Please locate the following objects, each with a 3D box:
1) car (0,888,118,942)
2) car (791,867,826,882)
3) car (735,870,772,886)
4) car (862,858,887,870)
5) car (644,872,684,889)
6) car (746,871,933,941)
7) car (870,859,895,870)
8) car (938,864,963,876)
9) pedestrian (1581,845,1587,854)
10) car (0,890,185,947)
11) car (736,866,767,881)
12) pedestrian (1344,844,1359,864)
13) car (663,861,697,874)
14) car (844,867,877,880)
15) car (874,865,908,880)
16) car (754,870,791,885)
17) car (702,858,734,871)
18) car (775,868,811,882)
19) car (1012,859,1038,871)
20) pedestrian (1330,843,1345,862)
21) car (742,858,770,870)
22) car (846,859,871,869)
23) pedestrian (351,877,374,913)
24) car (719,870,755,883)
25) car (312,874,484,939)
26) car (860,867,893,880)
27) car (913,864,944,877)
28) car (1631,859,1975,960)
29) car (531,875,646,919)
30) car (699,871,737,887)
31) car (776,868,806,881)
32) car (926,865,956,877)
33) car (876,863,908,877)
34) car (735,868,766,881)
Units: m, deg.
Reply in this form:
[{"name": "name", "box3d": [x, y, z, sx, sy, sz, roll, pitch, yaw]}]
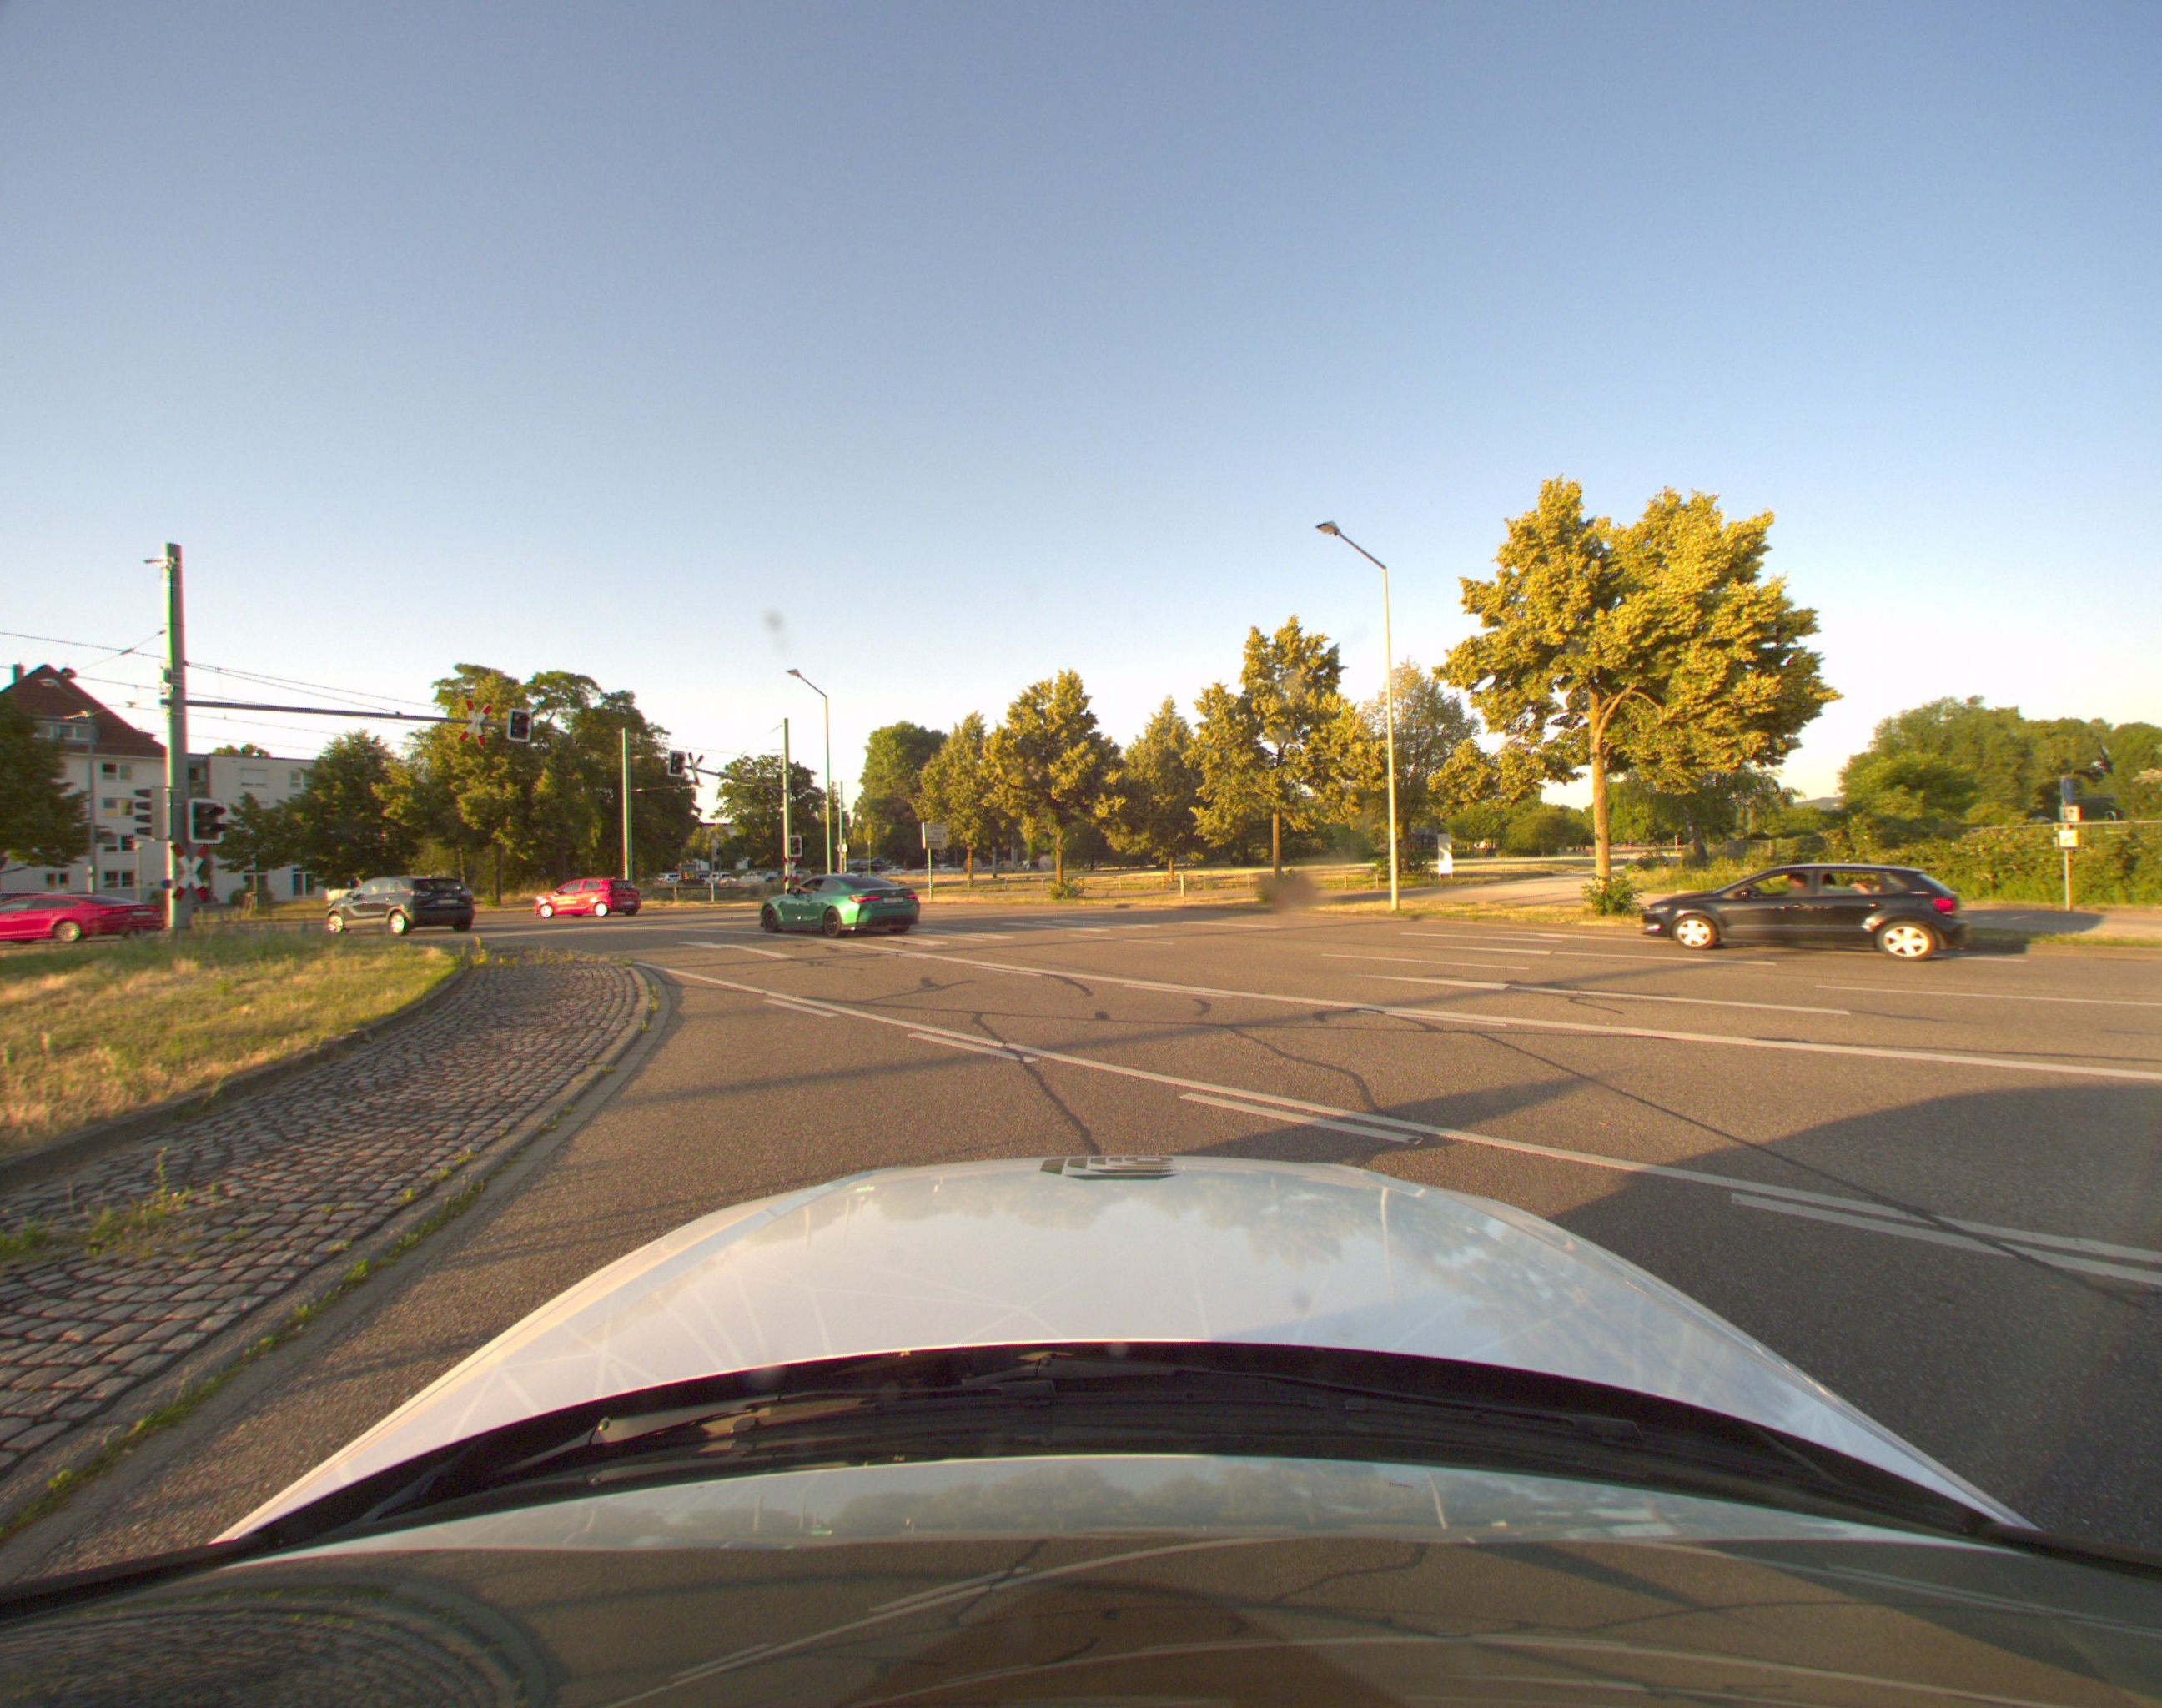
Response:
[{"name": "car", "box3d": [-37.948, 2.195, 28.699, 4.728, 1.706, 1.982, -2, 0, -29]}, {"name": "car", "box3d": [-32.639, 2.466, 97.606, 3.948, 1.604, 2.013, -2, 0, 34]}, {"name": "car", "box3d": [-37.056, 2.714, 92.057, 3.948, 1.604, 2.013, -2, 0, 34]}, {"name": "car", "box3d": [-37.966, 1.786, 150.039, 1.975, 2.013, 4.025, -2, 0, 42]}, {"name": "car", "box3d": [-42.657, 2.684, 83.320, 3.948, 1.604, 2.013, -2, 0, 34]}, {"name": "car", "box3d": [-5.752, 1.128, 19.088, 4.674, 1.371, 2.012, -2, 0, 42]}, {"name": "car", "box3d": [-35.690, 1.896, 146.433, 3.964, 1.706, 2.005, -2, 0, 8]}, {"name": "car", "box3d": [-20.847, 2.534, 129.985, 2.008, 1.752, 4.549, -1, 1, -35]}, {"name": "pedestrian", "box3d": [93.485, -0.921, 151.262, 0.844, 1.661, 0.984, -2, 0, 27]}, {"name": "car", "box3d": [-29.055, 1.839, 23.268, 4.475, 1.392, 1.892, -2, 0, -5]}, {"name": "car", "box3d": [-47.562, 2.778, 117.618, 4.006, 2.013, 1.984, -2, 0, -24]}, {"name": "pedestrian", "box3d": [23.418, 0.000, 70.533, 1.064, 1.617, 0.911, -2, 0, 4]}, {"name": "car", "box3d": [-65.670, 2.245, 133.318, 1.974, 2.013, 4.627, -2, 0, 32]}, {"name": "car", "box3d": [-28.133, 2.483, 103.900, 3.948, 1.604, 2.013, -2, 0, 34]}, {"name": "car", "box3d": [-27.657, 2.690, 118.508, 4.578, 2.013, 1.995, -2, 0, -7]}, {"name": "car", "box3d": [-35.512, 2.716, 93.667, 3.948, 1.604, 2.013, -2, 0, 34]}, {"name": "car", "box3d": [-61.932, 1.800, 139.058, 1.974, 2.013, 4.628, -2, 0, 36]}, {"name": "car", "box3d": [-33.704, 2.456, 95.426, 3.948, 1.604, 2.013, -2, 0, 34]}, {"name": "car", "box3d": [-7.961, 1.527, 115.260, 1.748, 1.618, 3.954, -1, 0, -39]}, {"name": "pedestrian", "box3d": [22.357, -0.115, 70.926, 1.064, 1.617, 0.911, -2, 0, 4]}, {"name": "car", "box3d": [-57.844, 1.816, 144.928, 1.974, 2.013, 4.143, -2, 0, 36]}, {"name": "car", "box3d": [-41.755, 1.896, 153.017, 1.974, 1.816, 4.026, -2, 0, 37]}, {"name": "pedestrian", "box3d": [-38.615, 2.197, 43.794, 0.666, 1.893, 0.619, 0, -1, -4]}, {"name": "car", "box3d": [-46.119, 3.023, 109.140, 1.878, 1.662, 4.026, -2, 0, 37]}, {"name": "car", "box3d": [-18.861, 1.422, 22.497, 3.953, 1.584, 1.905, -2, 0, 21]}, {"name": "car", "box3d": [-26.676, 2.490, 105.983, 3.948, 1.604, 2.013, -2, 0, 34]}, {"name": "car", "box3d": [-21.473, 2.321, 114.783, 3.948, 1.604, 2.013, -2, 0, 34]}, {"name": "car", "box3d": [11.455, 0.806, 13.190, 3.950, 1.354, 1.704, -2, 0, 44]}, {"name": "car", "box3d": [-18.696, 1.623, 30.953, 3.457, 1.500, 1.647, -2, 0, 10]}, {"name": "car", "box3d": [-39.026, 2.692, 87.538, 3.948, 1.604, 2.013, -2, 0, 34]}, {"name": "car", "box3d": [-41.305, 2.891, 115.991, 4.001, 1.662, 1.889, -2, 0, -20]}, {"name": "car", "box3d": [-19.998, 2.378, 116.478, 3.948, 1.604, 2.013, -2, 0, 34]}, {"name": "car", "box3d": [-29.383, 2.422, 126.696, 4.578, 2.013, 1.995, -2, 0, -7]}, {"name": "car", "box3d": [-46.234, 2.793, 113.939, 4.005, 1.662, 1.984, -2, 0, -24]}]
